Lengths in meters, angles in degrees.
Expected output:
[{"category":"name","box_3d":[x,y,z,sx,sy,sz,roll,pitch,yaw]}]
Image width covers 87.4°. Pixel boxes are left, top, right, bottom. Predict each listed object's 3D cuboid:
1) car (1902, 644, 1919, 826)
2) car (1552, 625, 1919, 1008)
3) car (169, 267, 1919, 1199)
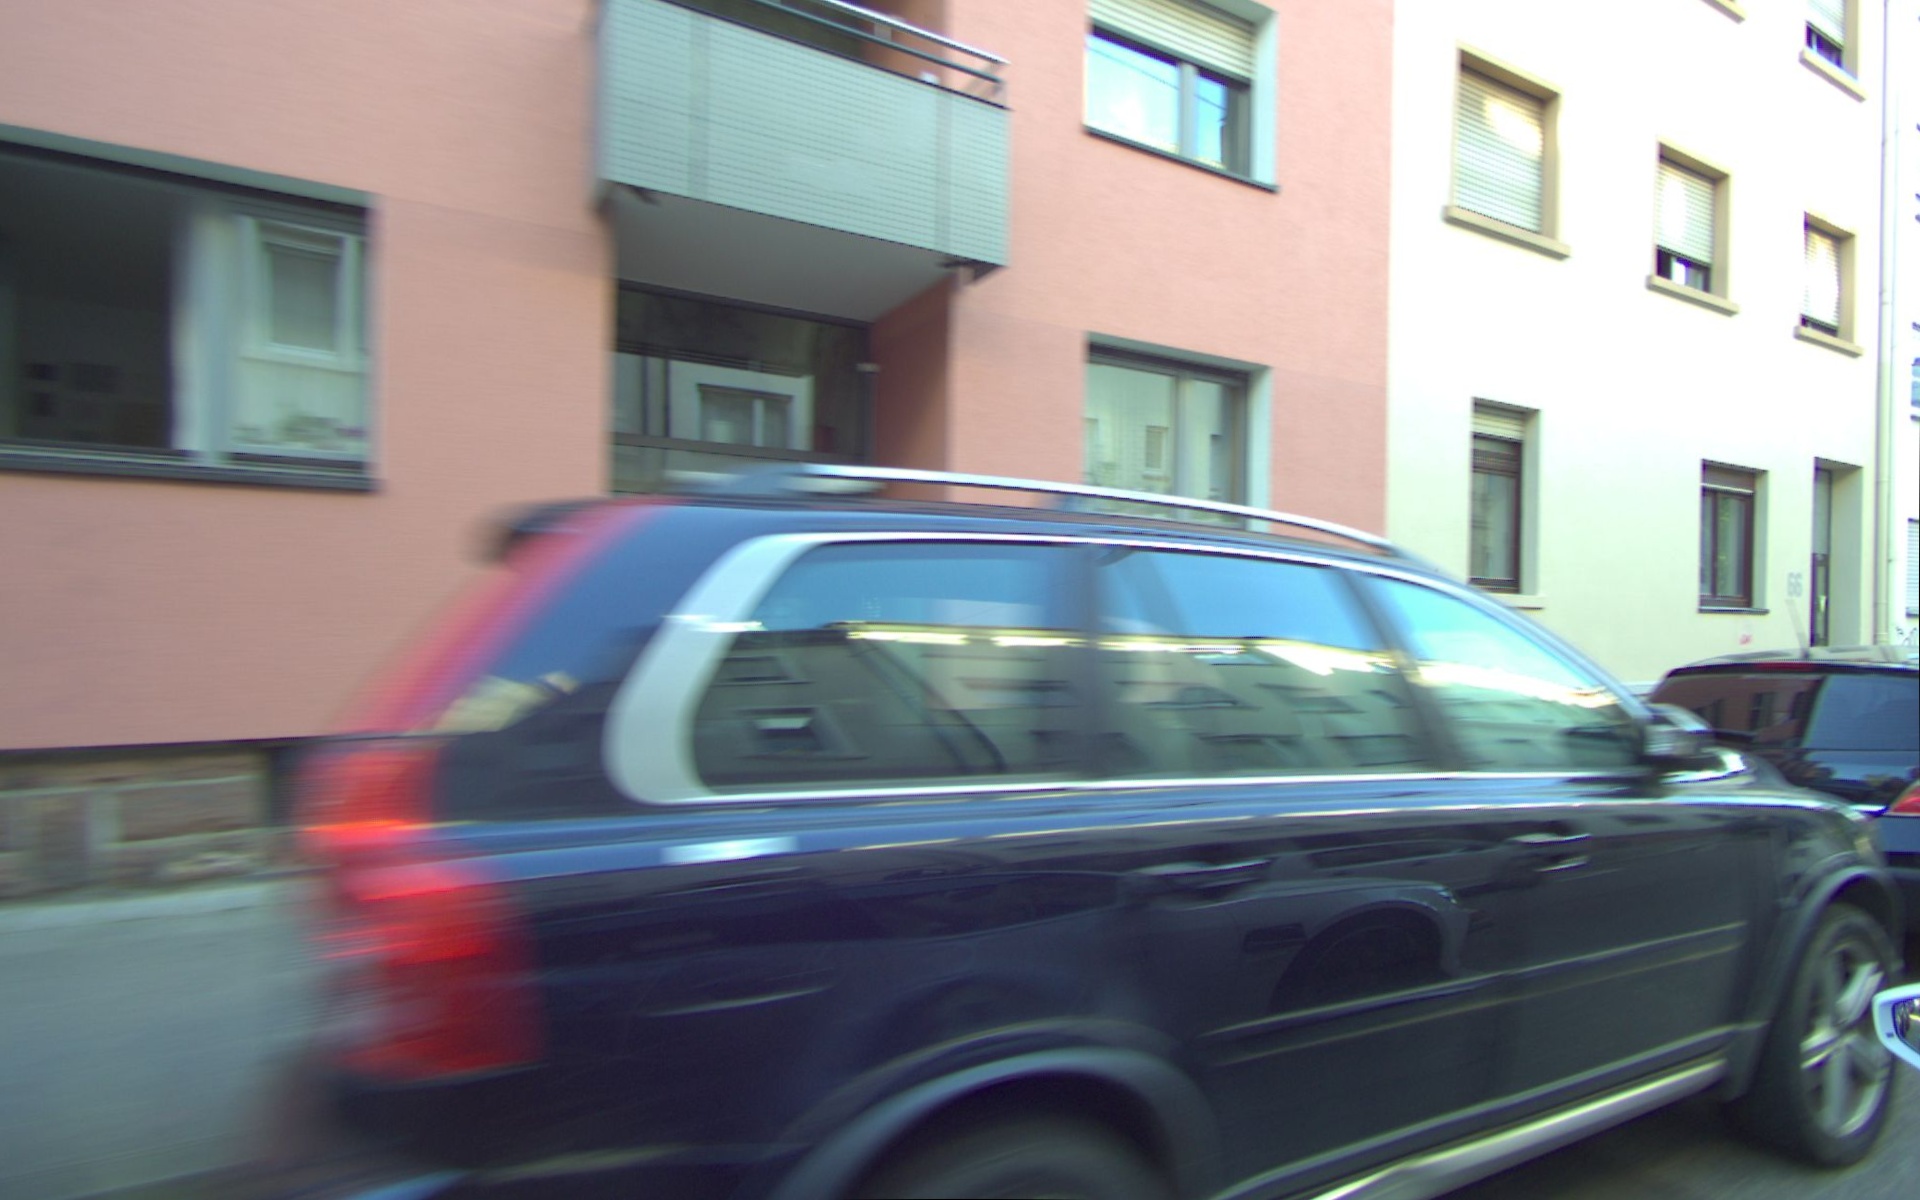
[{"category":"car","box_3d":[9.602,1.060,8.214,4.133,1.406,1.666,1,-2,-30]},{"category":"car","box_3d":[5.438,0.916,5.590,4.292,1.526,1.737,1,-2,-29]},{"category":"car","box_3d":[0.863,0.652,2.841,4.614,1.835,1.737,1,-2,-29]}]
